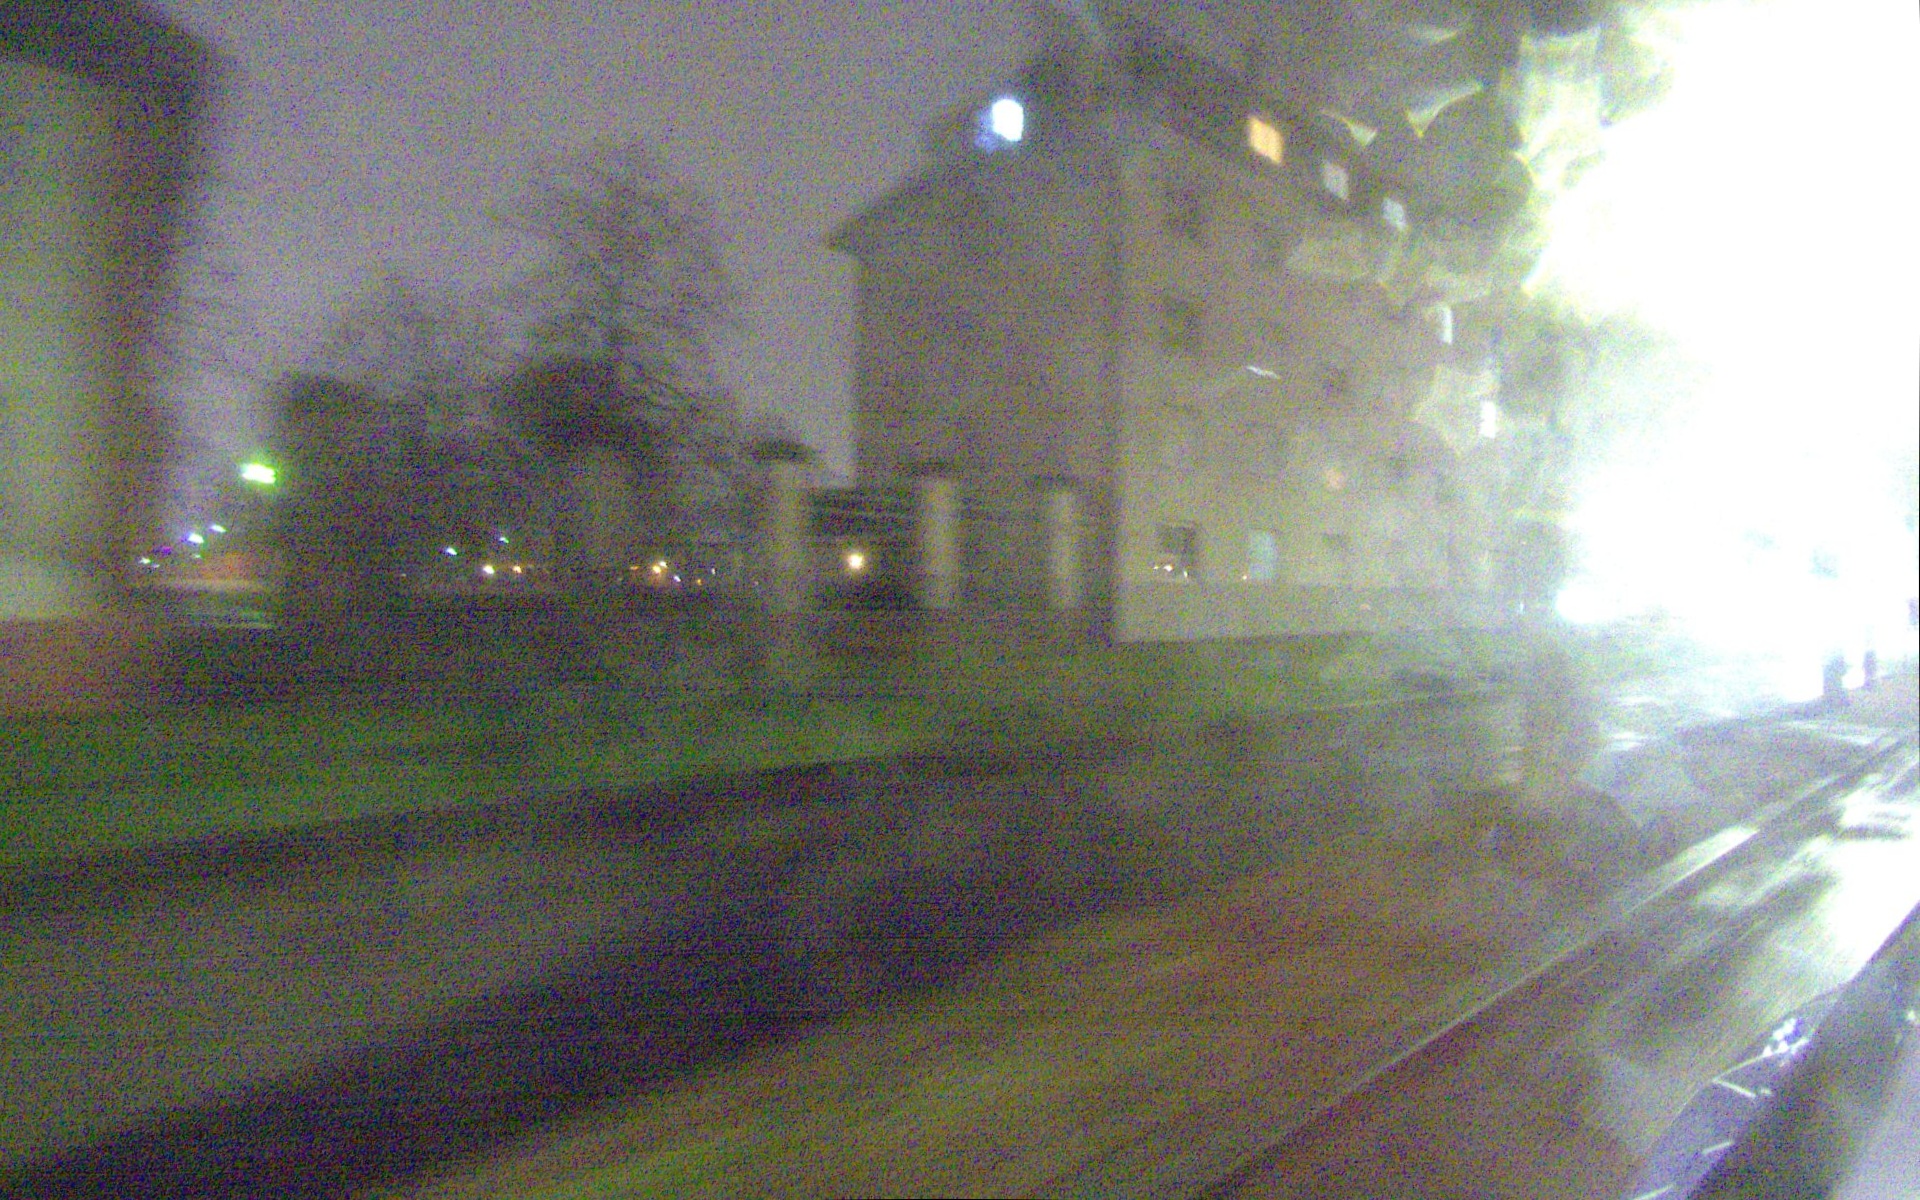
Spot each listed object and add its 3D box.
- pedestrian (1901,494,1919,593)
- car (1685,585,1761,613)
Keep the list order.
[{"bbox_3d":[20.493,-1.189,21.548,0.729,2.039,0.550,4,-2,-41],"label":"pedestrian"},{"bbox_3d":[51.778,-0.080,68.764,1.961,1.807,4.003,0,1,-2],"label":"car"}]
